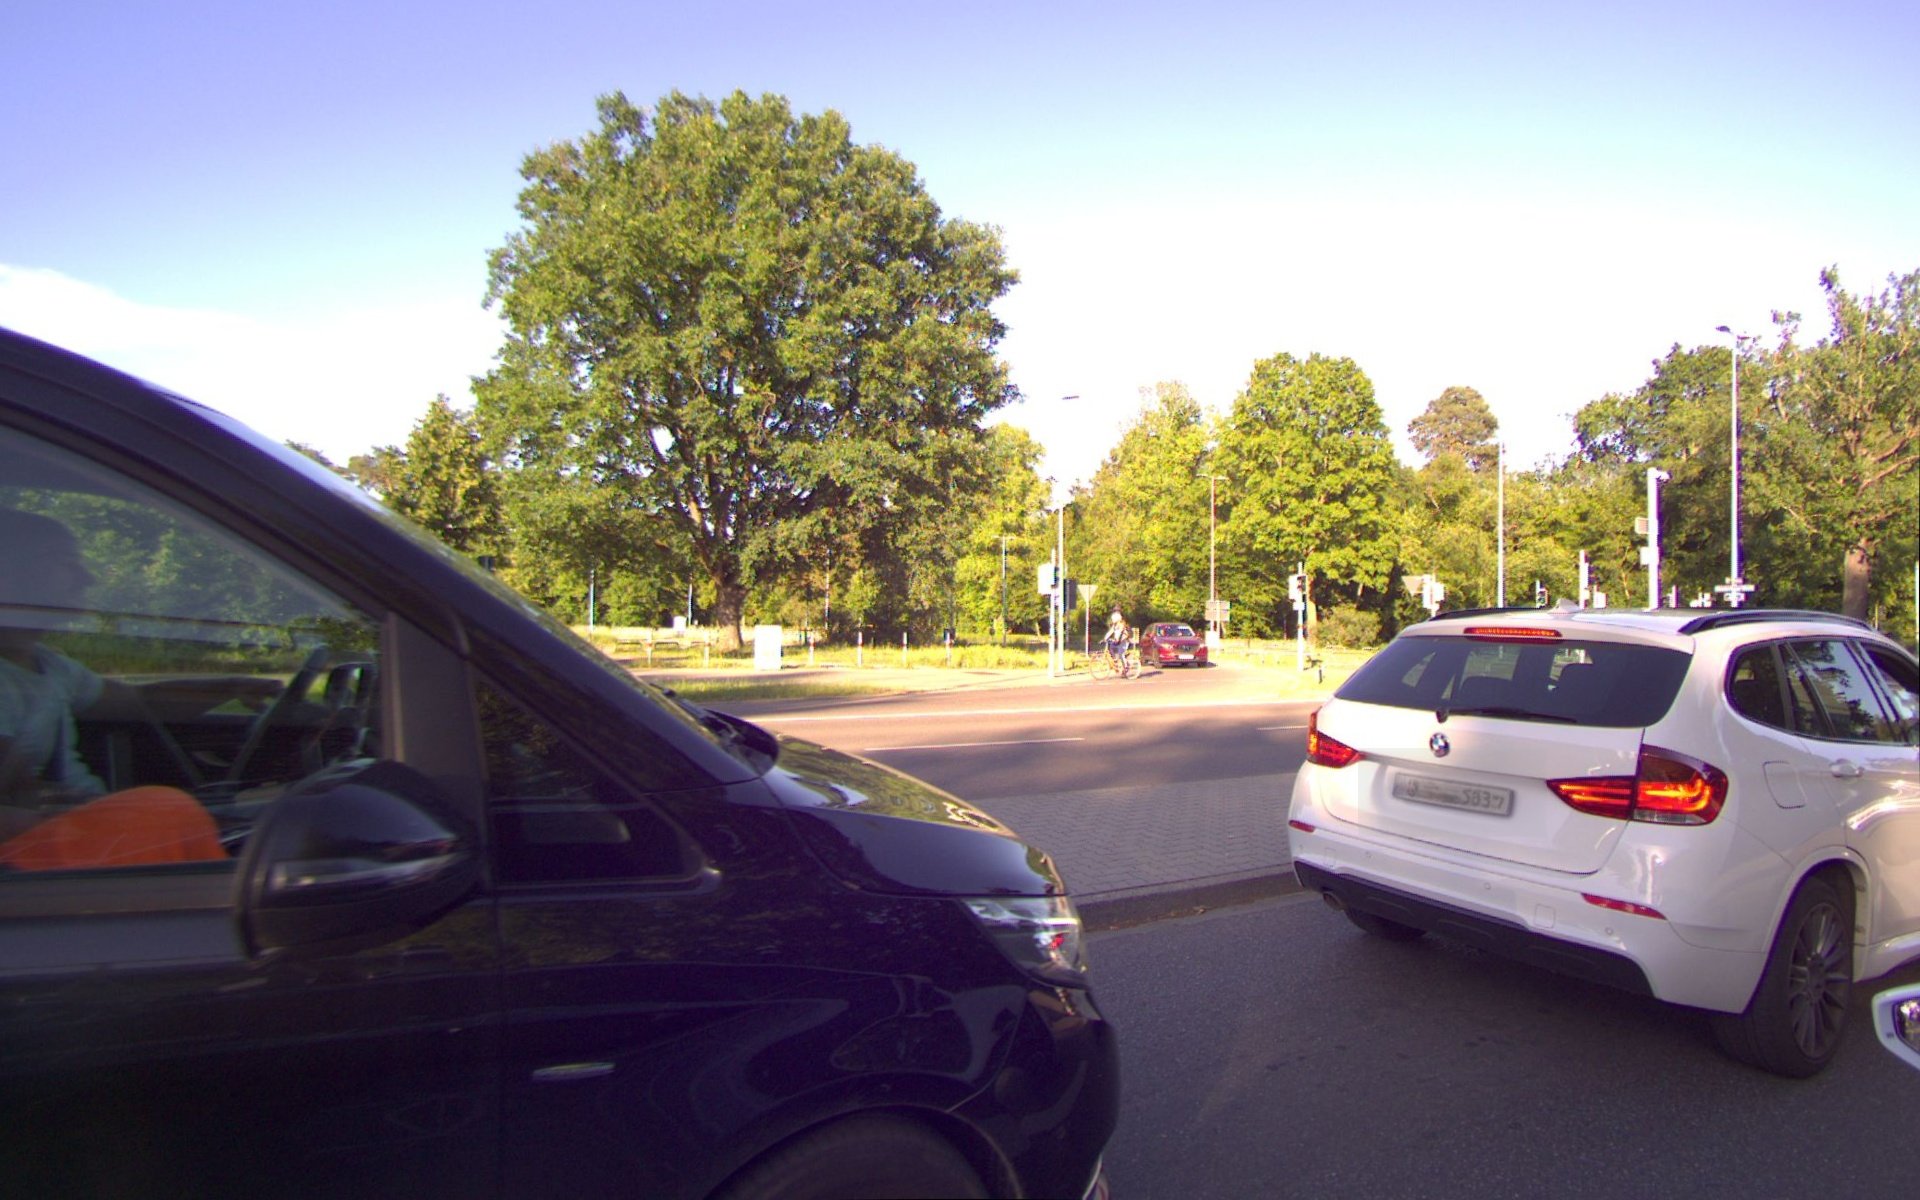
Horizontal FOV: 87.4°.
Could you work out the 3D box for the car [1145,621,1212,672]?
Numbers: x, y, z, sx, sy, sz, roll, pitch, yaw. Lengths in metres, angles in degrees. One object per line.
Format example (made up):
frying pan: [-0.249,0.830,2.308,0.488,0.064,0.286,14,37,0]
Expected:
car: [7.990,1.656,37.047,1.959,1.639,4.002,2,0,7]

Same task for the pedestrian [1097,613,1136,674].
pedestrian: [4.334,1.203,27.820,0.780,1.647,0.692,2,0,-30]

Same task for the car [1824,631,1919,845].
car: [8.688,1.012,7.800,4.229,1.463,1.776,1,1,-31]

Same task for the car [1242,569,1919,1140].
car: [3.532,0.749,4.675,4.382,1.602,1.710,1,0,-31]

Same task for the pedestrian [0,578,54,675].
pedestrian: [-15.638,0.427,16.683,0.664,1.564,0.737,2,0,-27]

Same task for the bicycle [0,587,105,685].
bicycle: [-15.616,0.592,16.686,1.996,1.571,0.748,2,0,-28]

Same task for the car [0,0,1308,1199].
car: [-1.901,0.342,1.486,4.815,1.881,1.898,0,1,-30]

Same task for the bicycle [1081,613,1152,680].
bicycle: [4.344,1.283,27.815,1.972,1.773,0.611,2,0,-33]
